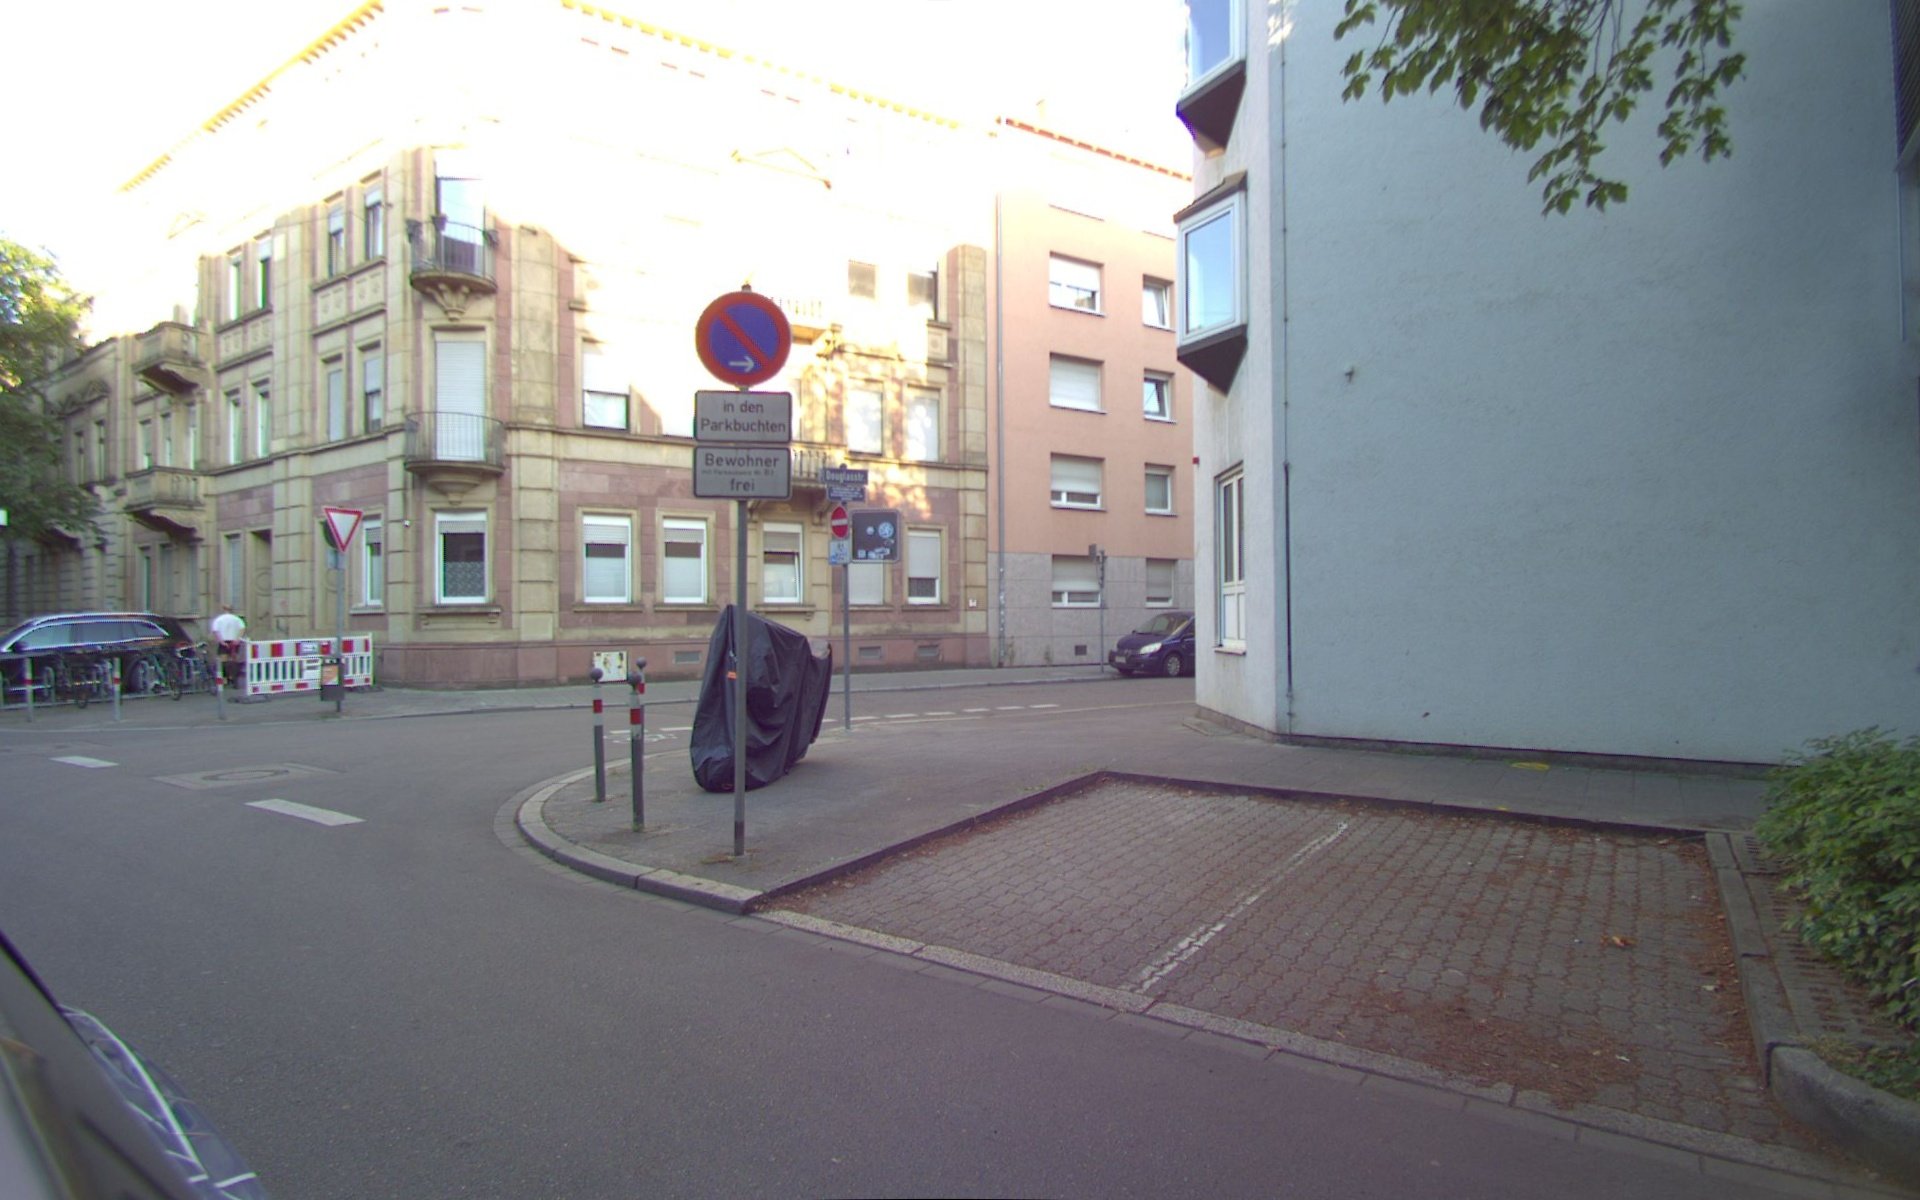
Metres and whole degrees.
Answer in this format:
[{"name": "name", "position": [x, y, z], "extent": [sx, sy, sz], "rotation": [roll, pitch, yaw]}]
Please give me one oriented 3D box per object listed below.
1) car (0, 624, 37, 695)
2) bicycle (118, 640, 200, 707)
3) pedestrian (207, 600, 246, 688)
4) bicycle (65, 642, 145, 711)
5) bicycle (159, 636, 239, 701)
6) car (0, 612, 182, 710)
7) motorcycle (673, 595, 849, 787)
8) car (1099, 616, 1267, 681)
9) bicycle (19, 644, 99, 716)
[{"name": "car", "position": [-24.299, 1.407, 23.388], "extent": [1.740, 1.690, 4.190], "rotation": [-1, -2, 39]}, {"name": "bicycle", "position": [-14.794, 1.335, 18.677], "extent": [2.033, 1.159, 0.556], "rotation": [-1, -1, 33]}, {"name": "pedestrian", "position": [-15.485, 0.910, 21.362], "extent": [0.564, 1.821, 0.652], "rotation": [1, -2, -44]}, {"name": "bicycle", "position": [-15.265, 1.333, 18.049], "extent": [2.034, 1.159, 0.555], "rotation": [-1, -1, 34]}, {"name": "bicycle", "position": [-14.440, 1.274, 19.181], "extent": [2.033, 1.159, 0.556], "rotation": [-1, -1, 33]}, {"name": "car", "position": [-17.911, 1.134, 19.472], "extent": [1.739, 1.795, 4.369], "rotation": [-1, -2, 38]}, {"name": "motorcycle", "position": [-1.719, 0.747, 9.199], "extent": [0.809, 1.516, 2.276], "rotation": [-1, -1, 10]}, {"name": "car", "position": [5.743, 1.172, 25.850], "extent": [4.297, 1.529, 1.789], "rotation": [1, -2, -36]}, {"name": "bicycle", "position": [-15.618, 1.356, 17.520], "extent": [2.034, 1.159, 0.555], "rotation": [-1, -1, 34]}]
